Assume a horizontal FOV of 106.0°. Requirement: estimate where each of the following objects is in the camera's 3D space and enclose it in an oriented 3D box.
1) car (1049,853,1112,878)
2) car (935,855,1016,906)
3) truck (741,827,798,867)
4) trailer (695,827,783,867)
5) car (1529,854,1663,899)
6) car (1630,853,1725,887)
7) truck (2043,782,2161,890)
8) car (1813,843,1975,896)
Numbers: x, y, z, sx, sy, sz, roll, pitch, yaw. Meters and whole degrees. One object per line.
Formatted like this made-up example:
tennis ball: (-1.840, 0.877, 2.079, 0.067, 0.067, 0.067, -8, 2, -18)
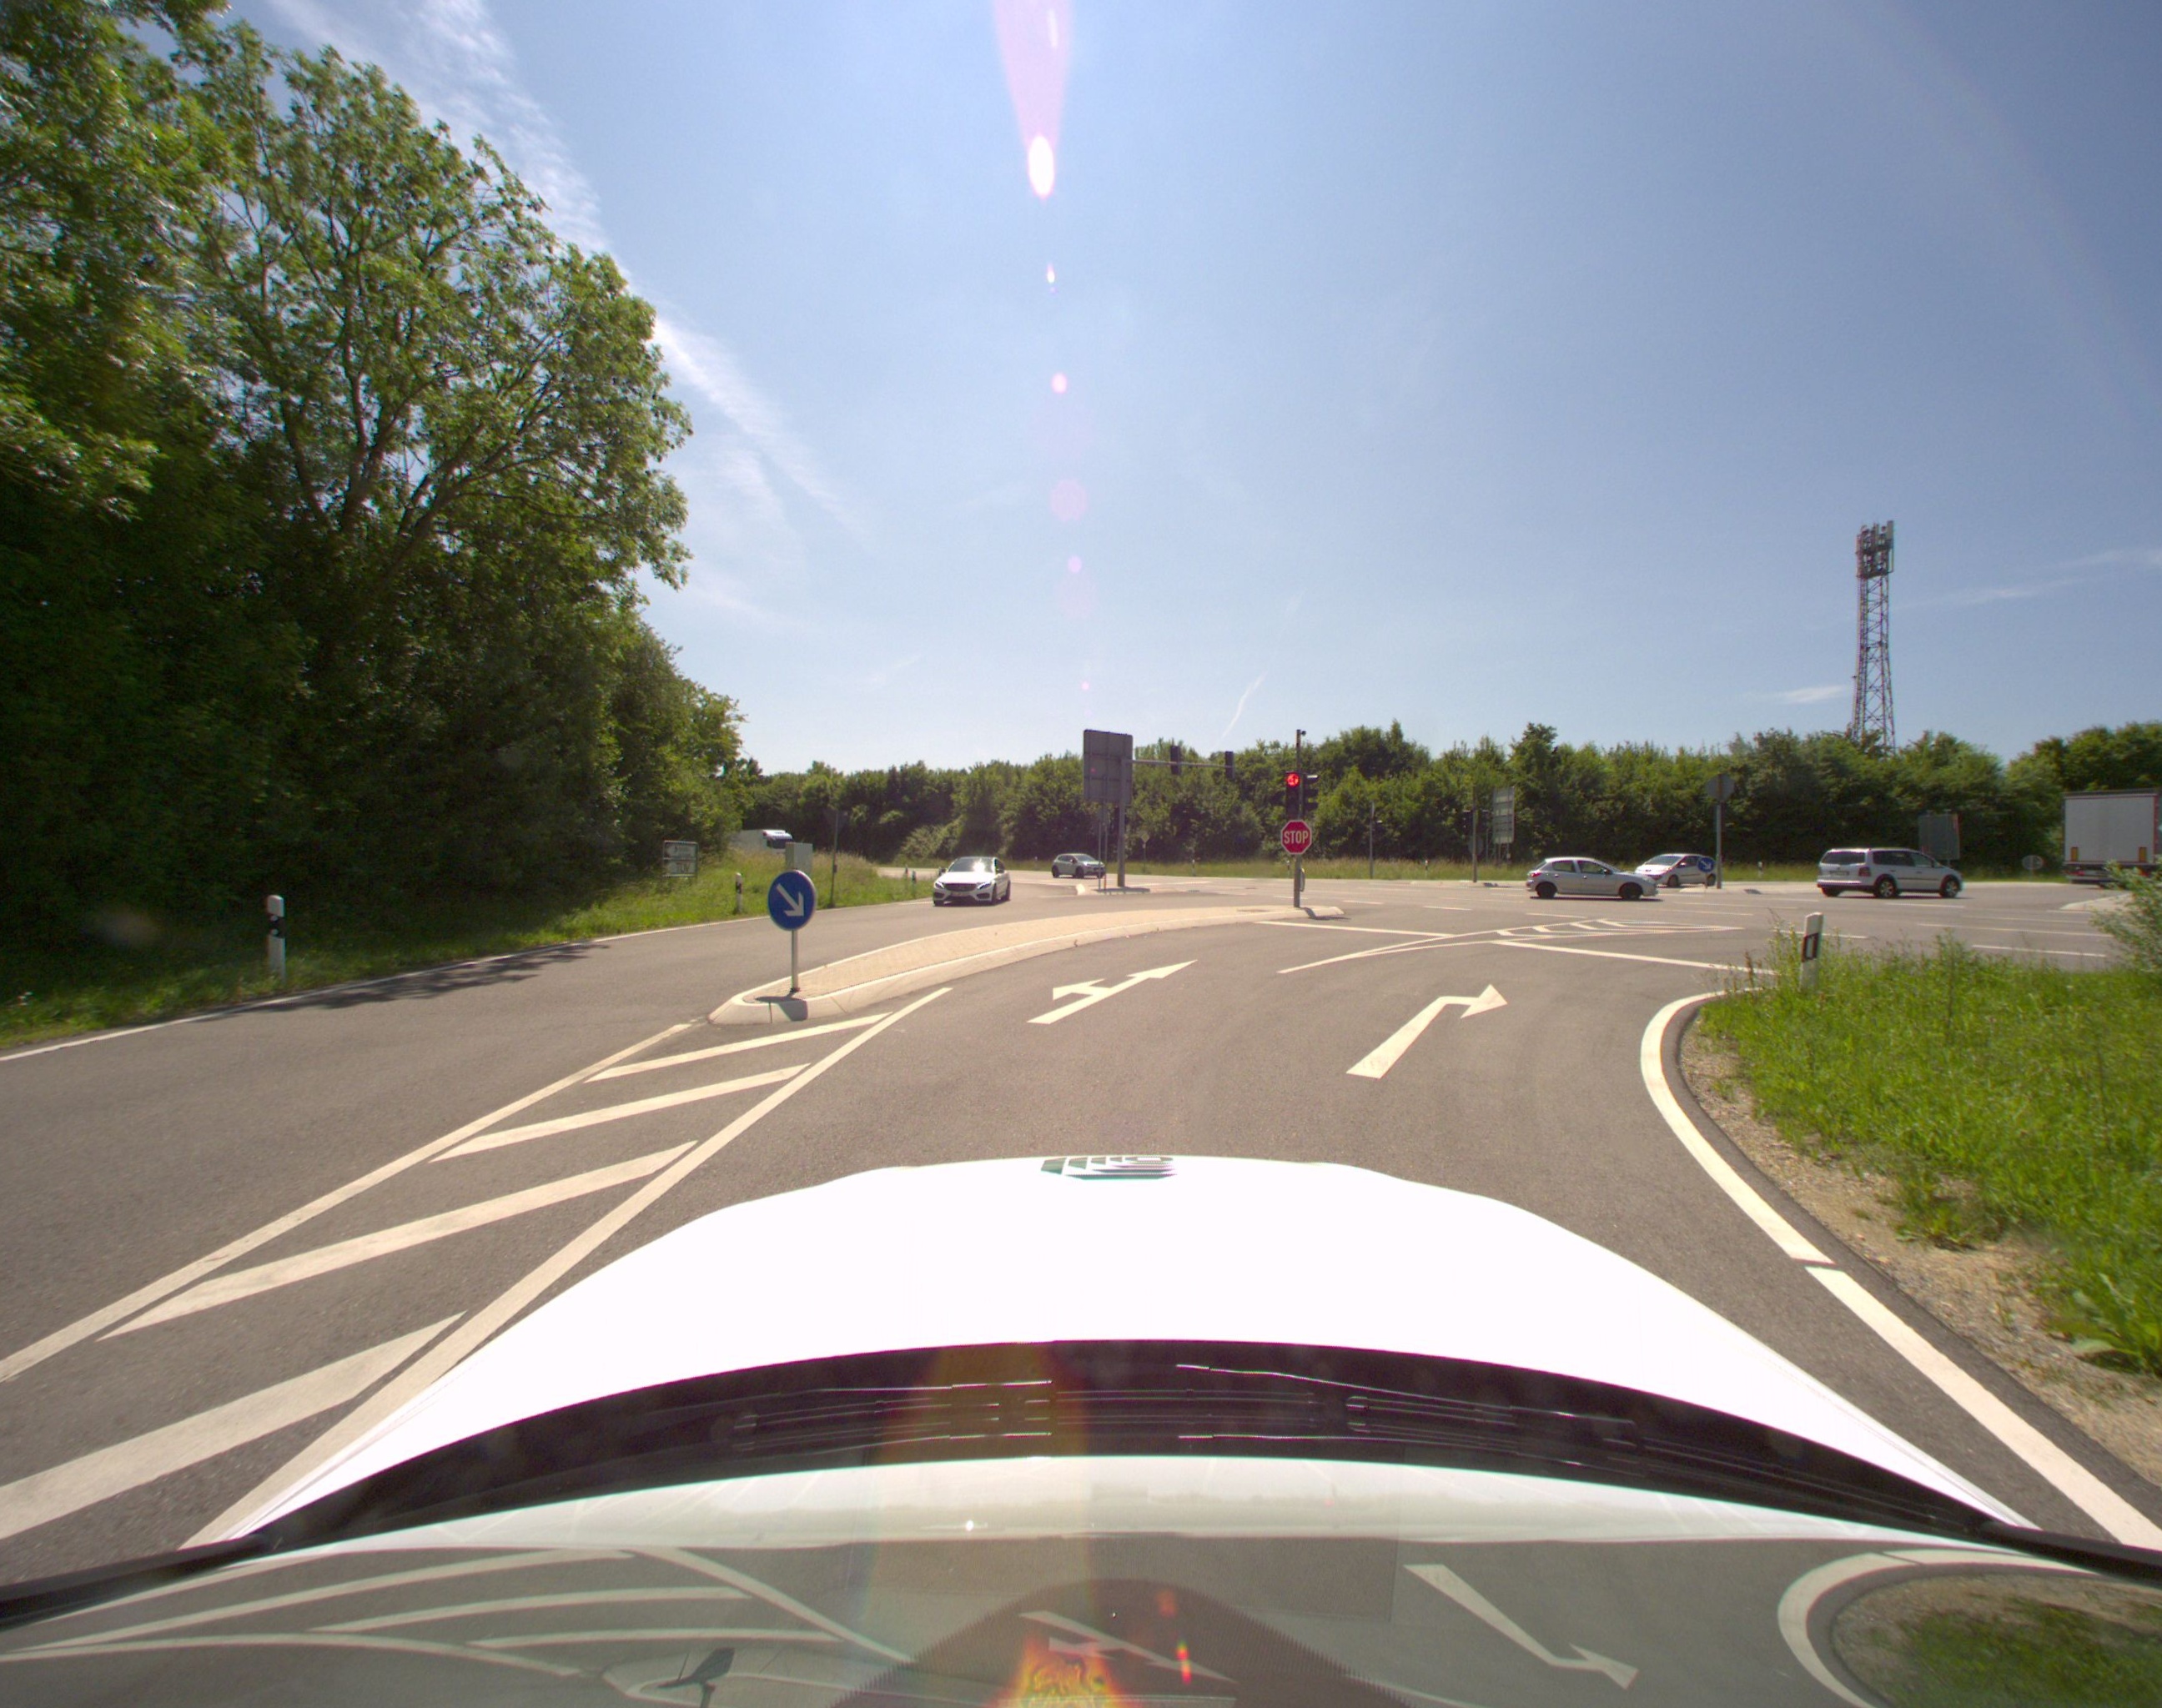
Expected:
car: (-0.091, 0.675, 49.963, 1.743, 1.404, 3.940, -1, 1, -40)
car: (-3.270, 0.770, 26.203, 1.798, 1.412, 5.335, 1, 0, 1)
truck: (-32.354, -0.742, 84.514, 6.200, 4.036, 2.678, 0, 0, 39)
trailer: (-37.356, -0.752, 88.609, 13.660, 4.036, 2.678, 0, 1, 39)
car: (17.363, 0.724, 27.641, 3.735, 1.413, 1.830, -1, 0, 29)
car: (25.769, 0.663, 35.191, 3.528, 1.370, 1.561, -1, 0, -18)
truck: (49.205, -0.863, 35.931, 16.686, 4.172, 3.115, -1, 0, -20)
car: (27.345, 0.499, 27.461, 4.044, 1.625, 1.813, -1, 0, -9)
